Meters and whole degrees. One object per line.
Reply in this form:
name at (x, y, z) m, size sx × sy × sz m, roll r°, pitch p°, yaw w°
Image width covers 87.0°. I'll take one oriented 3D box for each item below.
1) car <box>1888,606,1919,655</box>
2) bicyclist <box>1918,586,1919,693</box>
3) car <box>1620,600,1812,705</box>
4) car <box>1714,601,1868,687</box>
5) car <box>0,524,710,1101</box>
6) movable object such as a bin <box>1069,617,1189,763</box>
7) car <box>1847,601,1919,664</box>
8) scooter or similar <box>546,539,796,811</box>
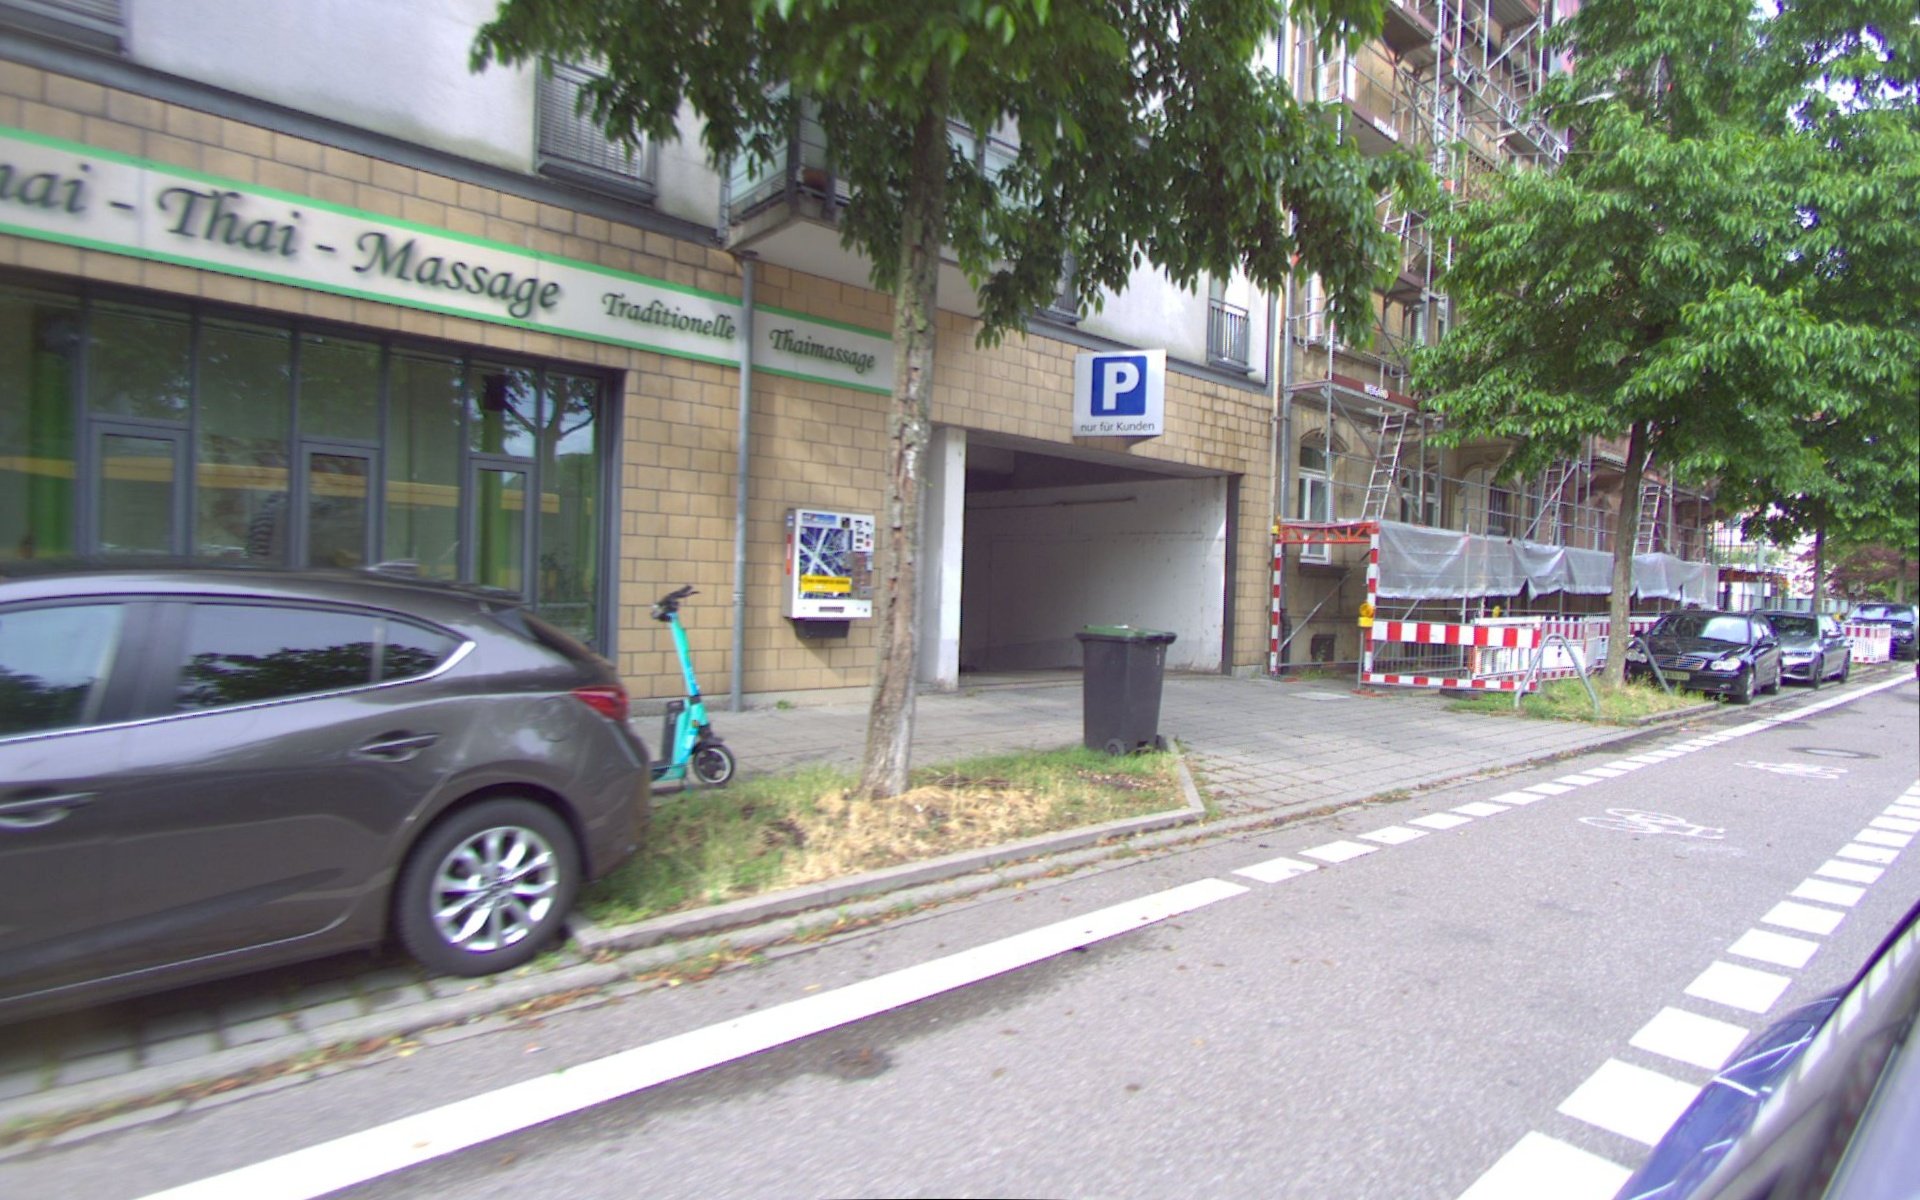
car at (36.007, 1.153, 37.582) m, size 3.697 × 1.716 × 1.836 m, roll 0°, pitch 3°, yaw -42°
bicyclist at (16.754, 0.677, 17.101) m, size 0.823 × 1.810 × 0.750 m, roll 1°, pitch -1°, yaw -40°
car at (12.940, 0.797, 17.227) m, size 4.205 × 1.479 × 1.754 m, roll 0°, pitch 3°, yaw -42°
car at (17.091, 0.821, 20.748) m, size 4.205 × 1.479 × 1.754 m, roll 0°, pitch 3°, yaw -42°
car at (-3.194, 0.511, 3.193) m, size 4.315 × 1.473 × 1.800 m, roll 0°, pitch 4°, yaw -43°
movable object such as a bin at (1.367, 0.700, 8.216) m, size 0.531 × 1.067 × 0.763 m, roll 1°, pitch 2°, yaw -41°
car at (29.211, 0.969, 31.487) m, size 4.205 × 1.751 × 1.836 m, roll 0°, pitch 3°, yaw -42°
scooter or similar at (-1.724, 0.402, 6.123) m, size 1.318 × 1.472 × 0.516 m, roll 1°, pitch 3°, yaw -41°
